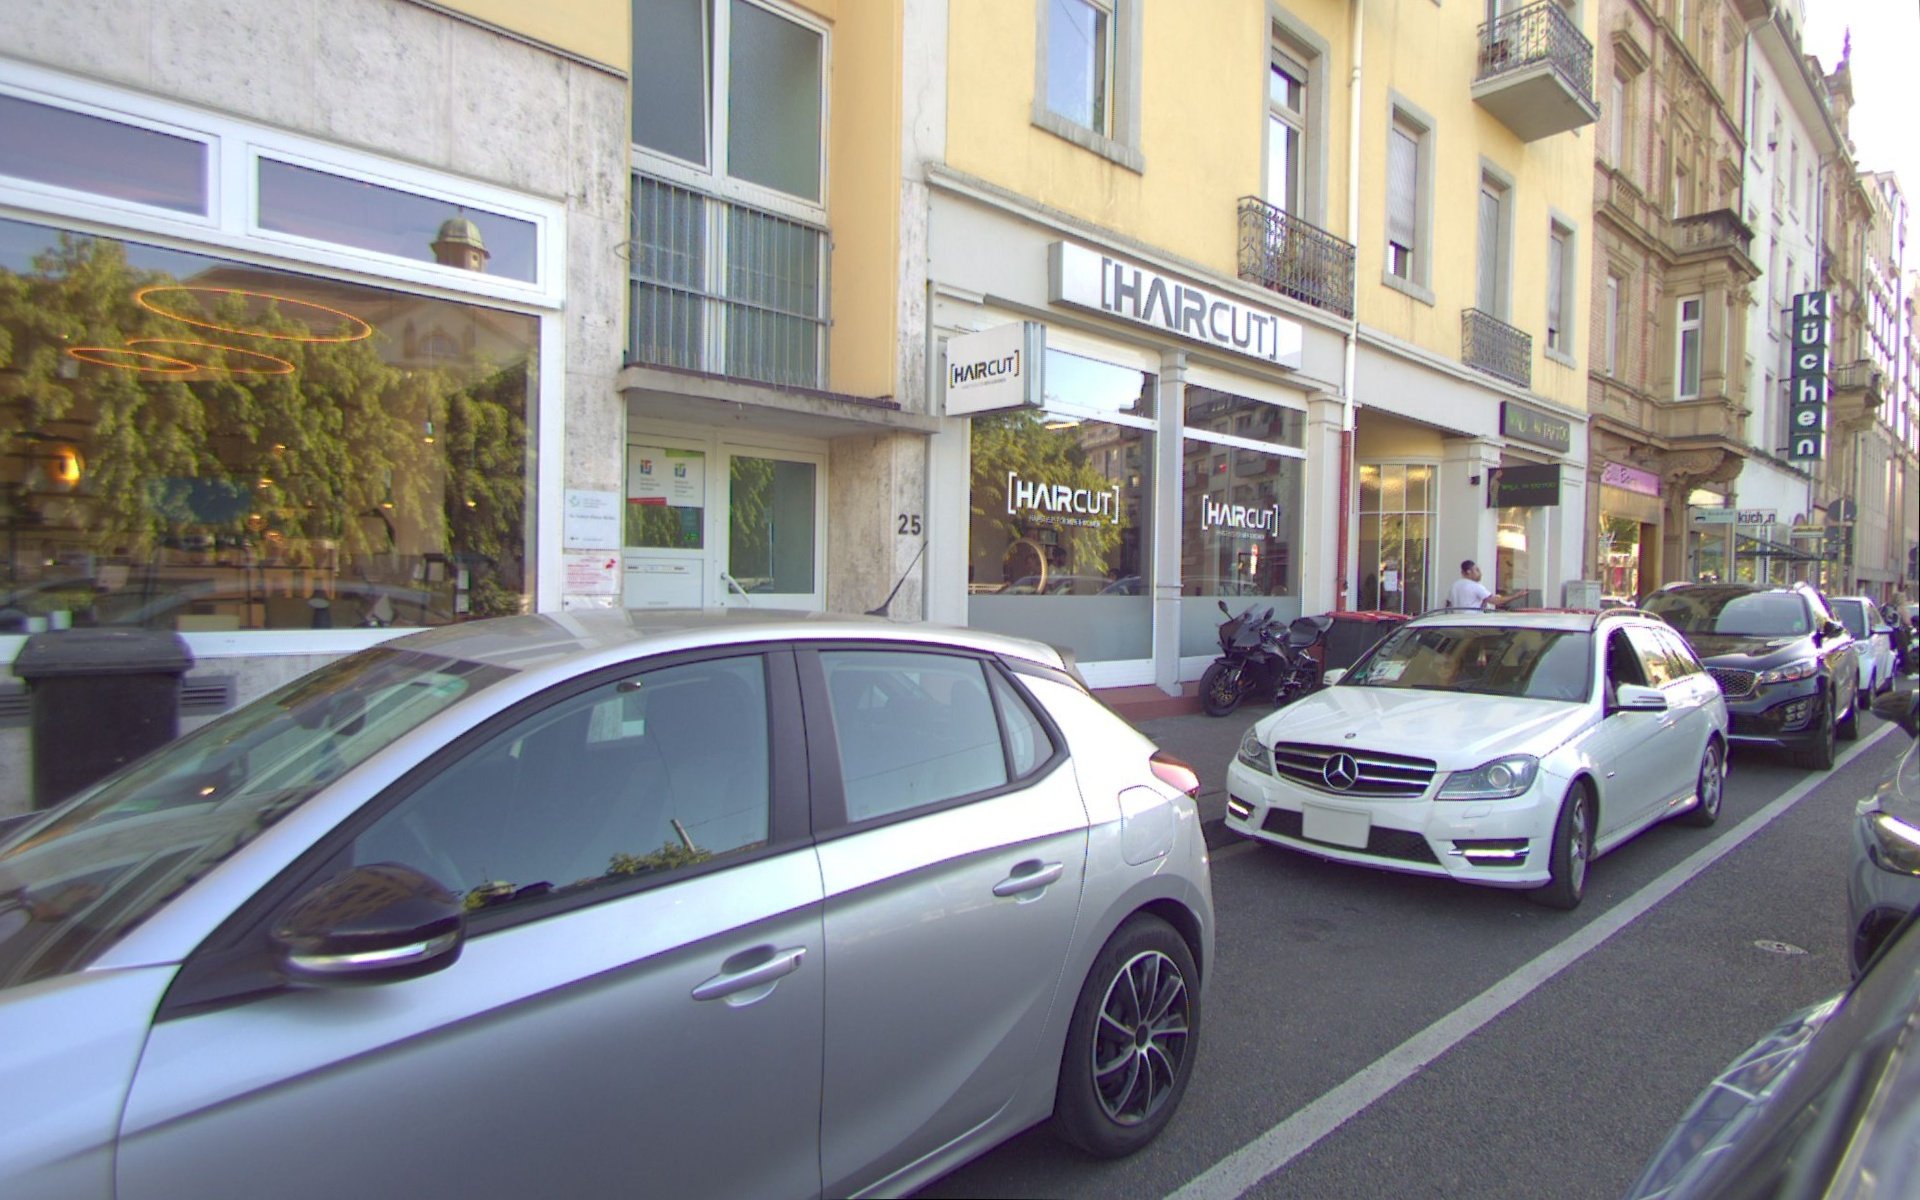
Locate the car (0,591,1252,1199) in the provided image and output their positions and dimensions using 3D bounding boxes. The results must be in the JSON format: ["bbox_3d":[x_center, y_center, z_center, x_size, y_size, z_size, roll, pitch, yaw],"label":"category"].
[{"bbox_3d":[-1.000,0.717,2.313,3.625,1.455,1.585,-1,0,-43],"label":"car"}]

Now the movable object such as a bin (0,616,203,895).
[{"bbox_3d":[-3.667,0.601,4.329,0.639,1.036,0.737,0,0,-41],"label":"movable object such as a bin"}]

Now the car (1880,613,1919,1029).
[{"bbox_3d":[5.404,0.752,4.381,4.397,1.385,1.767,-1,1,-43],"label":"car"}]

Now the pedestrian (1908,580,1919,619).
[{"bbox_3d":[44.092,-0.019,46.412,0.809,1.782,0.825,0,0,-42],"label":"pedestrian"}]

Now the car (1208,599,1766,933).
[{"bbox_3d":[3.539,0.710,6.393,4.301,1.389,1.671,-1,0,-41],"label":"car"}]

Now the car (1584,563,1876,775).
[{"bbox_3d":[8.016,0.532,10.371,4.338,1.711,1.802,-1,0,-45],"label":"car"}]

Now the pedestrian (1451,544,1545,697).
[{"bbox_3d":[6.893,0.254,13.003,0.961,1.900,0.532,0,0,18],"label":"pedestrian"}]

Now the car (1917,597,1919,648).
[{"bbox_3d":[26.618,0.576,26.930,3.306,1.334,1.459,-1,0,-42],"label":"car"}]

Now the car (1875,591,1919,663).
[{"bbox_3d":[21.906,0.568,22.812,3.736,1.509,1.691,-1,0,-45],"label":"car"}]

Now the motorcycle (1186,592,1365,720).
[{"bbox_3d":[3.308,0.525,10.509,2.073,1.144,0.735,-1,5,-41],"label":"motorcycle"}]

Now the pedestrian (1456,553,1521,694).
[{"bbox_3d":[7.247,0.302,13.879,0.627,1.859,0.760,0,0,41],"label":"pedestrian"}]

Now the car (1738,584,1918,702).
[{"bbox_3d":[12.779,0.549,14.857,2.945,1.542,1.582,-1,0,-41],"label":"car"}]

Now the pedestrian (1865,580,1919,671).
[{"bbox_3d":[18.494,0.488,19.804,0.804,1.741,0.838,0,0,-2],"label":"pedestrian"}]

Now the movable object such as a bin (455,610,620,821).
[{"bbox_3d":[-2.320,0.582,5.543,0.639,1.036,0.737,0,0,-41],"label":"movable object such as a bin"}]
